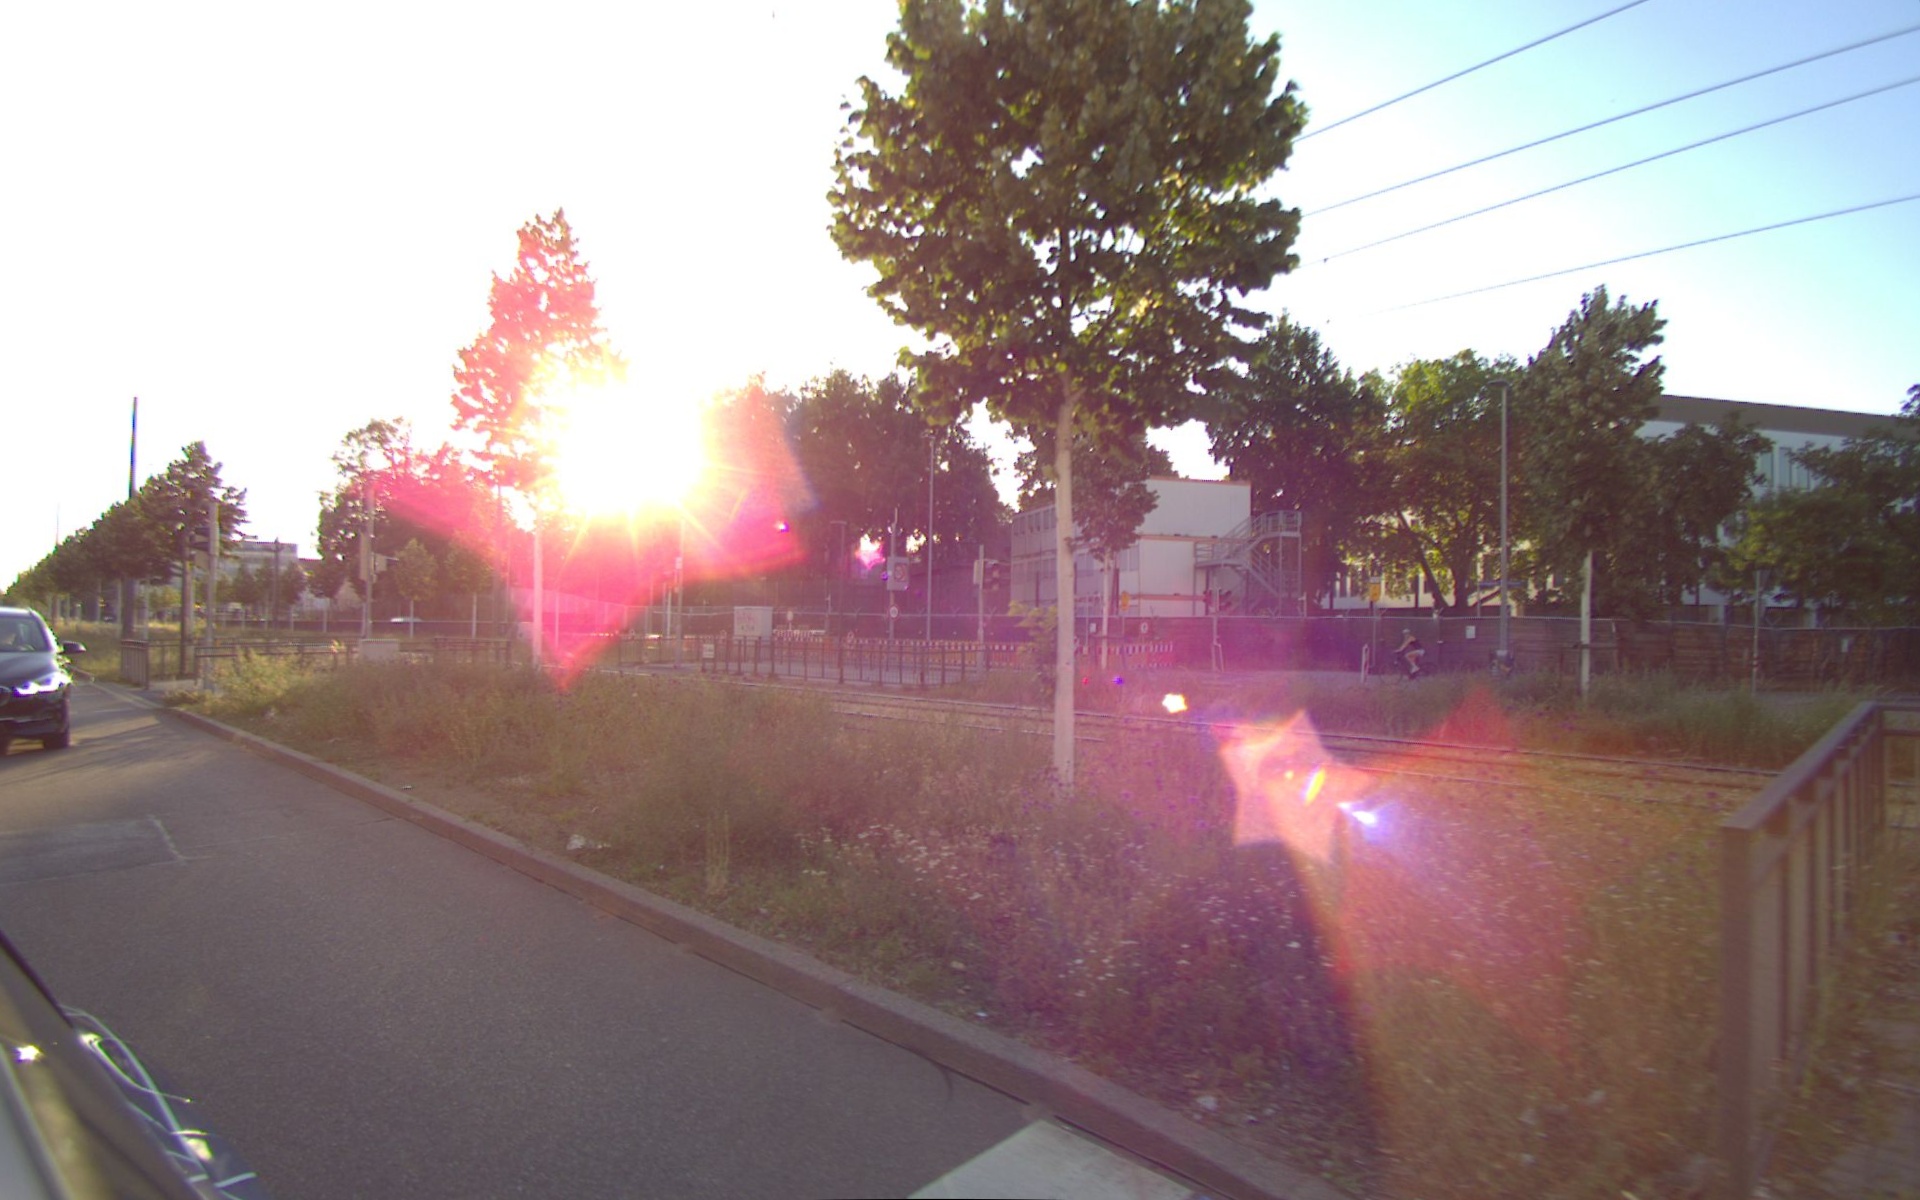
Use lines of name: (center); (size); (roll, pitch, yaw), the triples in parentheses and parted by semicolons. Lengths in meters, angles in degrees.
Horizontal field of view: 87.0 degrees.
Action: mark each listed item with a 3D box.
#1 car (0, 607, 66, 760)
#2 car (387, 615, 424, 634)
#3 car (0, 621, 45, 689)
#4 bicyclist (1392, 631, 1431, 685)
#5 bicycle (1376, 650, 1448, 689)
car: (-11.510, 0.874, 11.627); (1.798, 1.530, 4.797); (0, -1, -42)
car: (-47.921, 2.107, 87.394); (1.823, 1.572, 3.802); (-1, -1, -45)
car: (-22.798, 1.271, 23.725); (1.807, 1.475, 4.306); (-1, -1, -45)
bicyclist: (13.969, 1.779, 31.318); (0.935, 1.633, 0.714); (-1, -1, 12)
bicycle: (13.975, 2.139, 31.315); (1.879, 1.142, 0.714); (-1, -1, 13)
